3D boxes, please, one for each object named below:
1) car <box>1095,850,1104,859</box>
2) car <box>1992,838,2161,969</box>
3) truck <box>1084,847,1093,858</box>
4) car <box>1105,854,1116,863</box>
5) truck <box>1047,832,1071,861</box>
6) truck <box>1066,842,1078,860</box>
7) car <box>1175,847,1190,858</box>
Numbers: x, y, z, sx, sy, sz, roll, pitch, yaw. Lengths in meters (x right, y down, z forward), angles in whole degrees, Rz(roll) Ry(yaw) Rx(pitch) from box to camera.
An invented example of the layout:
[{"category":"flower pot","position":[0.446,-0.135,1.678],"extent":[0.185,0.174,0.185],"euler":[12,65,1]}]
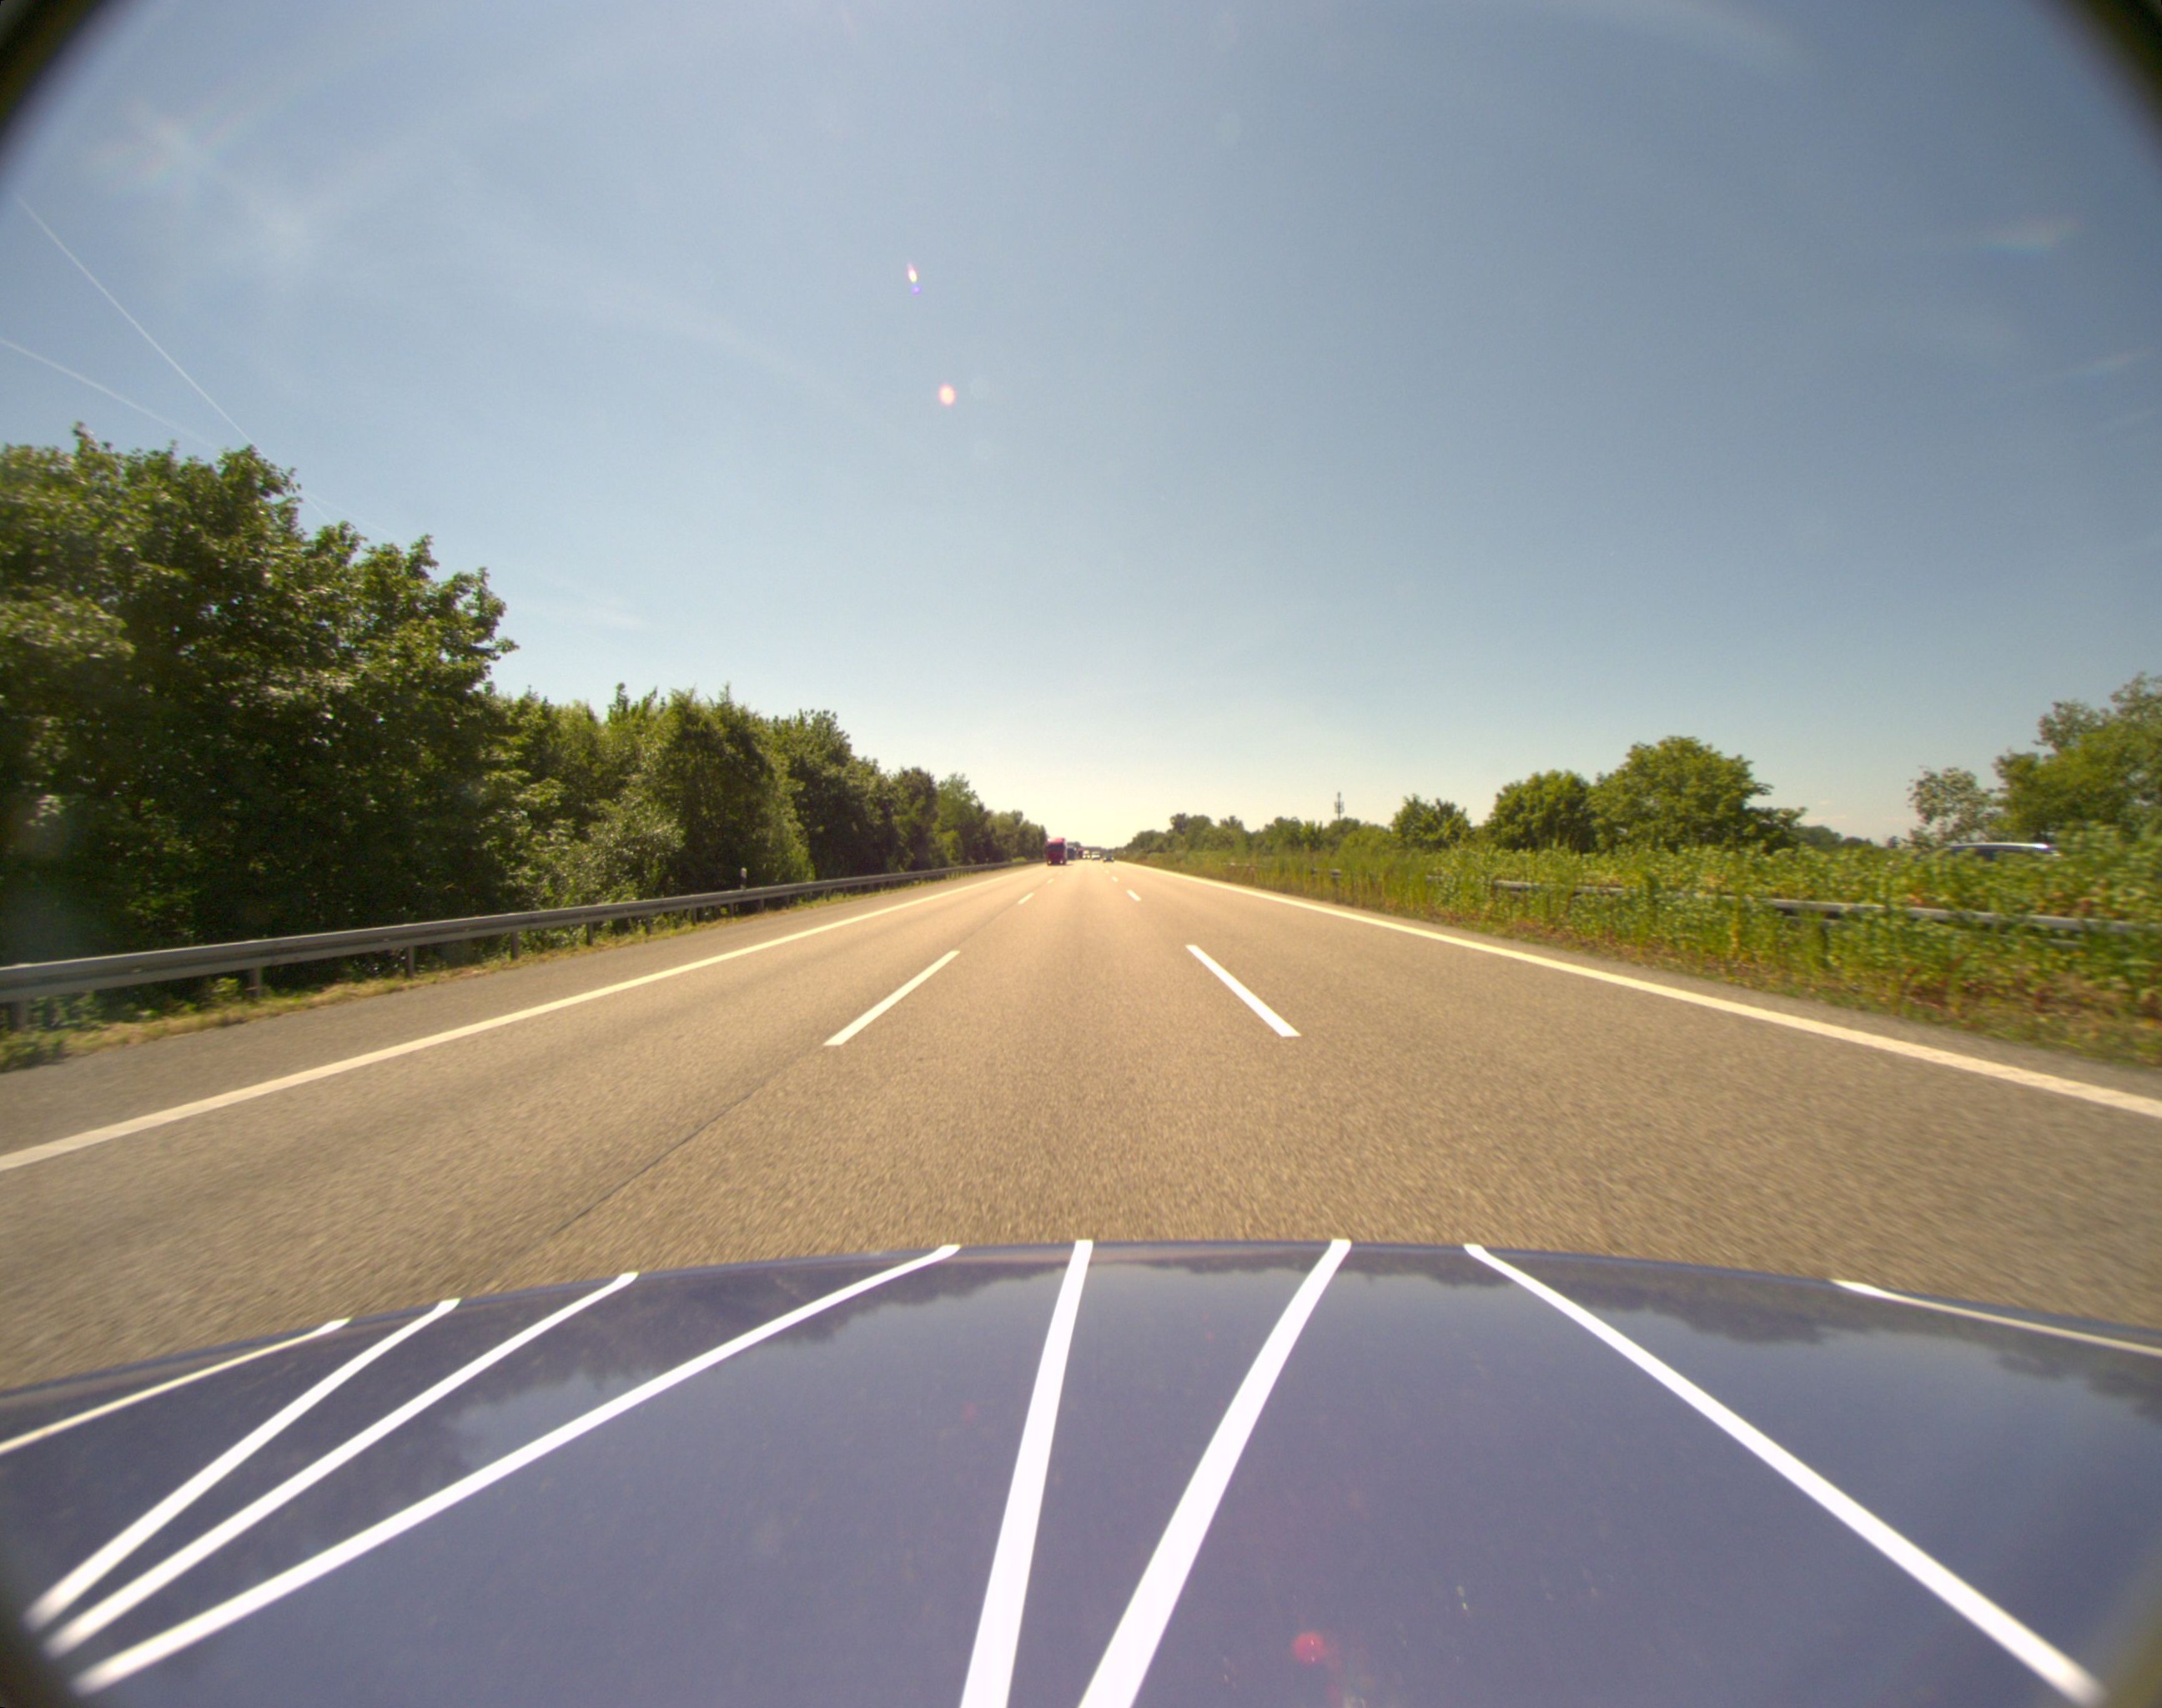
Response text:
[{"category":"car","position":[4.234,0.164,175.541],"extent":[1.998,2.002,4.755],"euler":[-2,0,0]},{"category":"car","position":[17.479,0.745,11.573],"extent":[1.917,1.956,4.483],"euler":[-2,0,3]},{"category":"truck","position":[2.532,-0.520,244.479],"extent":[2.726,3.391,9.769],"euler":[-2,0,1]},{"category":"car","position":[5.073,0.794,129.539],"extent":[1.736,1.433,4.000],"euler":[-2,0,1]},{"category":"truck","position":[-3.197,-1.064,112.798],"extent":[2.938,3.934,10.259],"euler":[-2,0,1]},{"category":"truck","position":[-2.478,-0.836,205.962],"extent":[2.938,4.429,10.259],"euler":[-2,0,1]},{"category":"car","position":[19.004,-0.339,142.208],"extent":[1.998,1.978,5.272],"euler":[-2,0,0]}]
